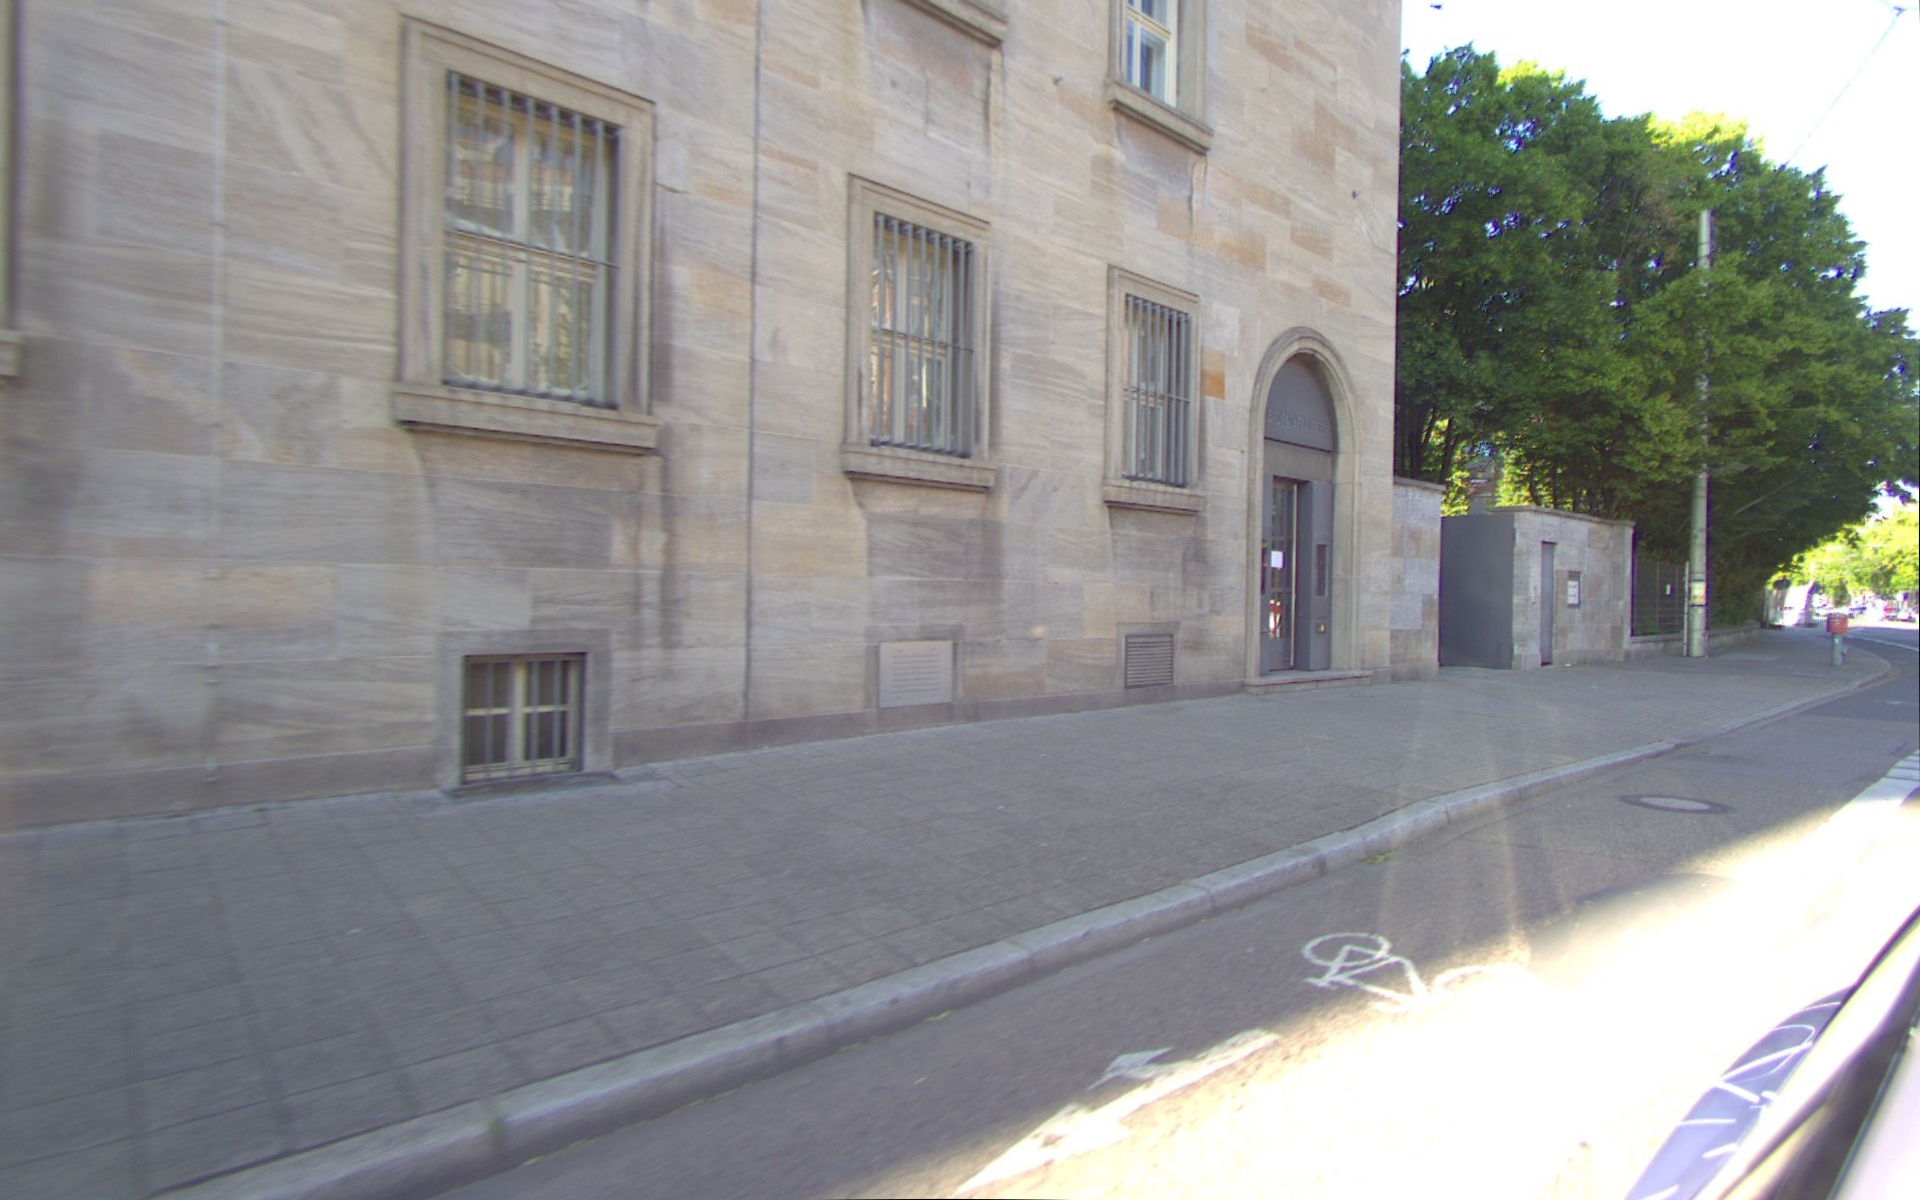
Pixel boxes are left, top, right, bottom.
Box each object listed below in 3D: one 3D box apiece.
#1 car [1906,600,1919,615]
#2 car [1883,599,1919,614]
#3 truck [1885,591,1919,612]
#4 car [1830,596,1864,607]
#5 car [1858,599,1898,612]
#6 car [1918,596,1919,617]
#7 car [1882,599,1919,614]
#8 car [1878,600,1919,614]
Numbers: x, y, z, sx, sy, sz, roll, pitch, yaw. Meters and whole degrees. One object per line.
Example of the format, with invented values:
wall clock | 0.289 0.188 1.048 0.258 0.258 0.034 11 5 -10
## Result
car | 106.545 0.796 110.939 3.742 1.614 1.654 -2 -1 31
car | 112.274 0.768 120.050 3.742 1.614 1.654 -2 -1 31
truck | 110.429 0.163 117.835 3.749 2.454 1.651 -2 -1 36
car | 131.300 0.255 149.829 3.592 1.520 1.488 -2 -1 31
car | 123.864 0.728 136.594 3.742 1.614 1.654 -2 -1 31
car | 94.241 0.555 96.226 4.273 1.976 1.654 -2 -1 31
car | 107.238 0.746 114.737 3.742 1.614 1.654 -2 -1 31
car | 114.411 0.812 123.078 3.742 1.614 1.654 -2 -1 31
